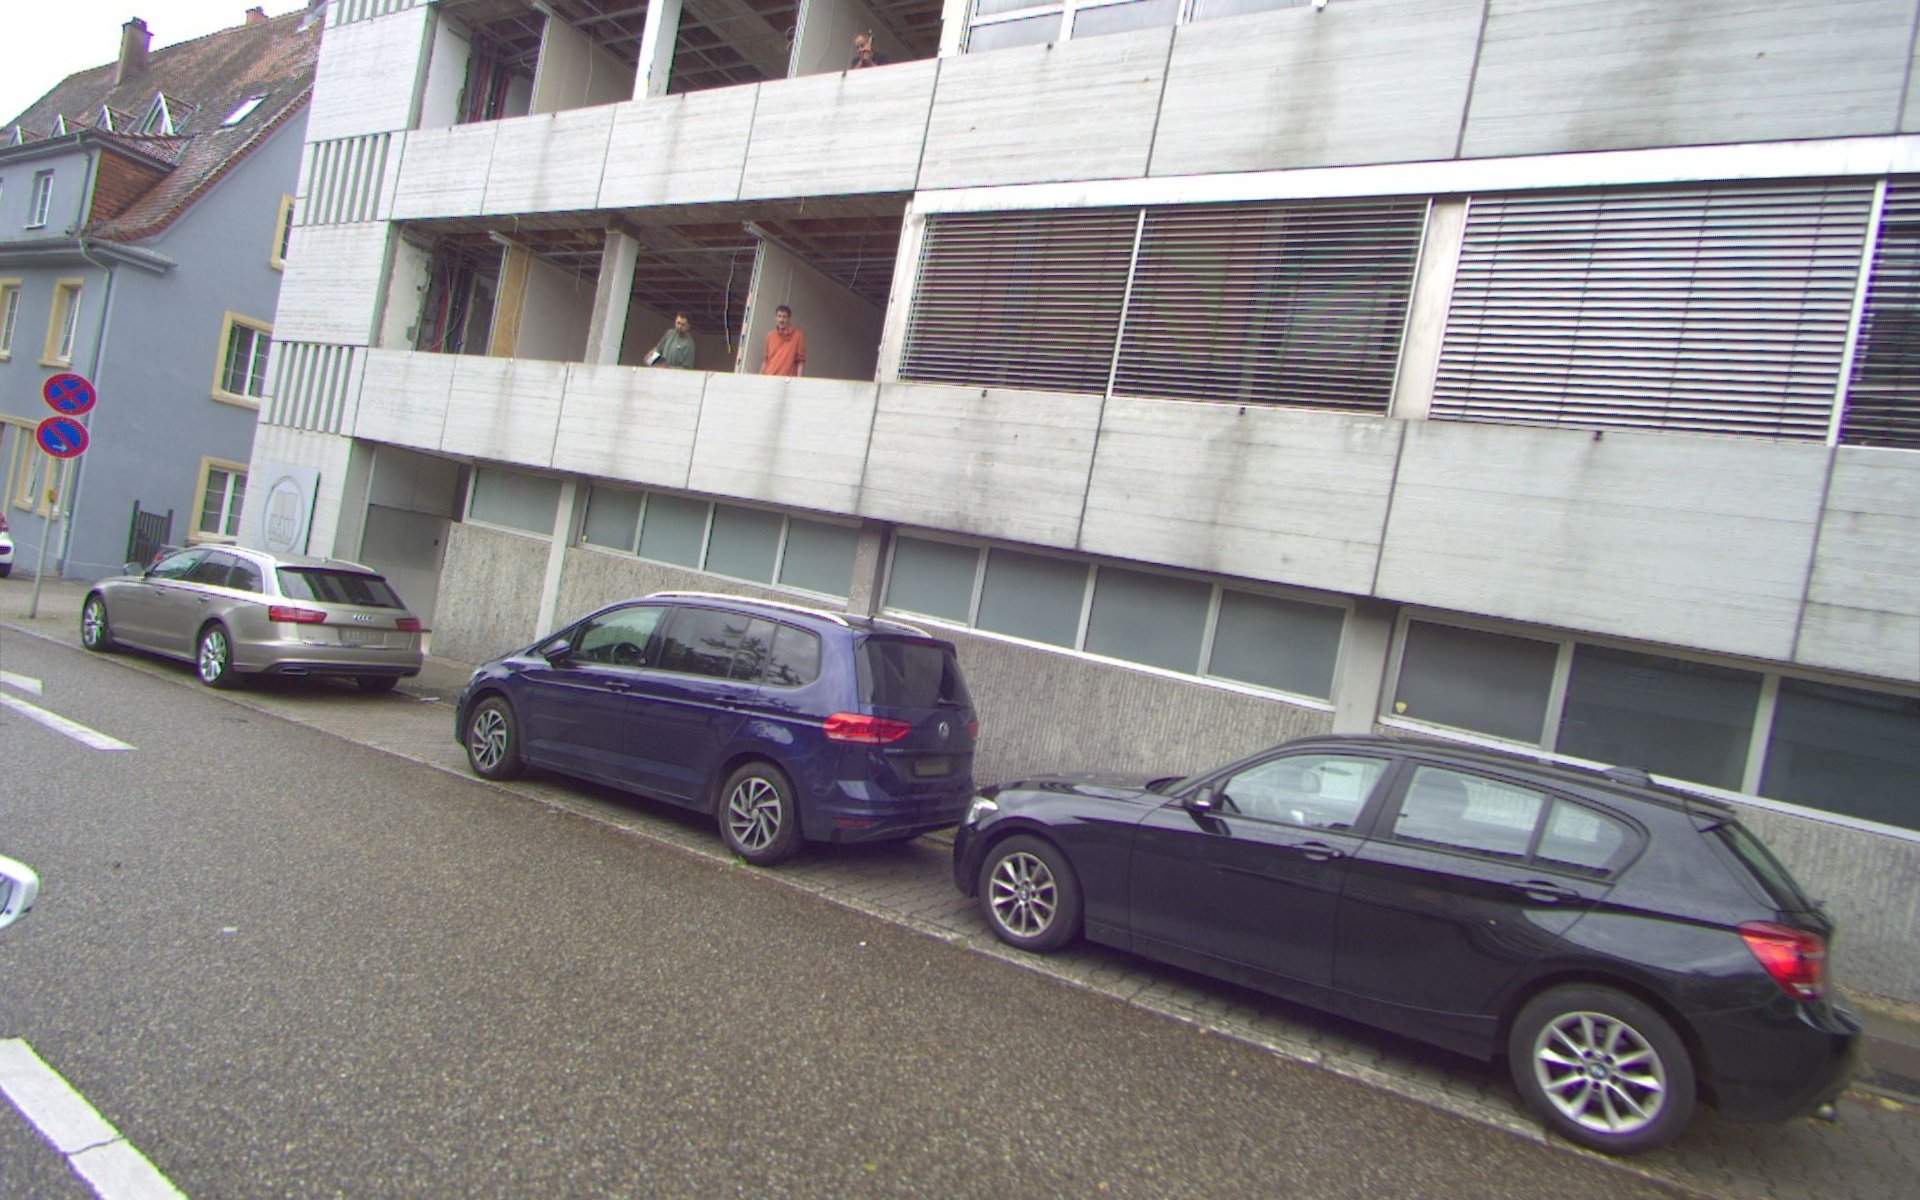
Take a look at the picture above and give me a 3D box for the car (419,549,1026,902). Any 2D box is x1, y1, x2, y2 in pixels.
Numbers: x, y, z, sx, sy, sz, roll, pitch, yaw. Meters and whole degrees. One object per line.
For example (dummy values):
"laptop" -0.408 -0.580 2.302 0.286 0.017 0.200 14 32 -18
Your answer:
"car" -1.889 0.745 7.559 4.272 1.694 1.748 7 -2 31

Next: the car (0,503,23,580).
"car" -20.059 -1.322 19.555 3.396 1.429 1.589 7 1 28

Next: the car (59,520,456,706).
"car" -8.193 0.115 11.630 4.661 1.476 1.819 7 -2 30

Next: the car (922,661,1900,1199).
"car" 1.989 1.353 5.341 4.032 1.461 1.709 7 -2 35

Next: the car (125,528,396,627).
"car" -13.936 -0.357 20.421 1.774 1.423 4.374 8 -2 12
